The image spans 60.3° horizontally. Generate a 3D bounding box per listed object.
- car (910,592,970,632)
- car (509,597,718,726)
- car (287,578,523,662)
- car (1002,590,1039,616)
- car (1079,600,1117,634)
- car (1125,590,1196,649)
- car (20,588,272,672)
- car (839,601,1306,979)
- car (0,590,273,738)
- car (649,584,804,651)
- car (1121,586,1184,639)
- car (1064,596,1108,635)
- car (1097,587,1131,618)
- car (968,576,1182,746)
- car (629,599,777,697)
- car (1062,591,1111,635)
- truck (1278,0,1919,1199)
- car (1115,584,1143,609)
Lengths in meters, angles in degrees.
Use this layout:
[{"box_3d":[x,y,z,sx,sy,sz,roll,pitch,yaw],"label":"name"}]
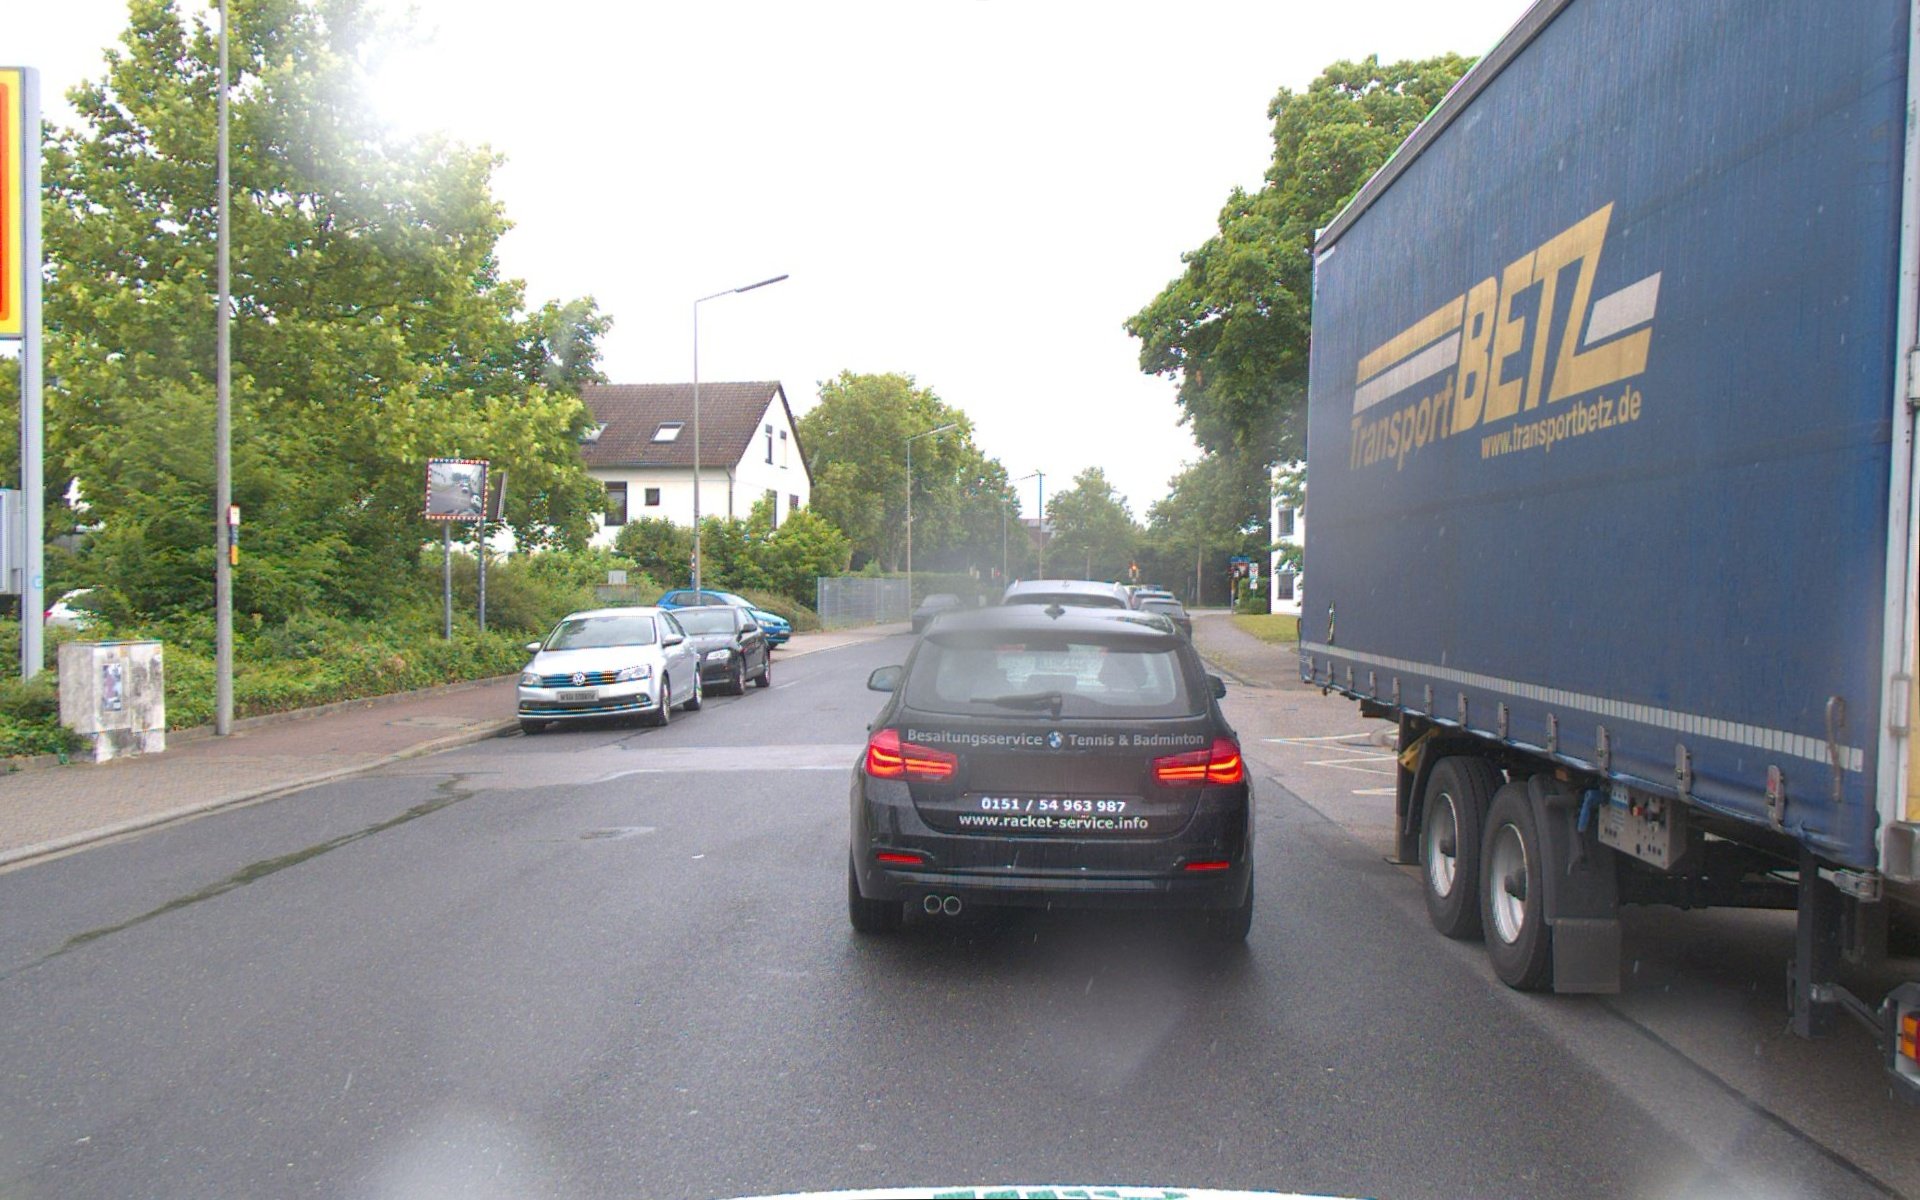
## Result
[{"box_3d":[-0.747,0.456,63.520,1.669,1.391,3.841,-2,0,8],"label":"car"},{"box_3d":[-4.300,0.699,21.225,1.671,1.391,4.601,-2,0,0],"label":"car"},{"box_3d":[-10.627,0.365,31.891,3.906,1.567,1.910,0,0,-1],"label":"car"},{"box_3d":[3.519,0.183,96.171,1.669,1.391,3.841,-2,0,8],"label":"car"},{"box_3d":[6.792,0.820,81.351,1.766,1.614,4.003,1,0,6],"label":"car"},{"box_3d":[5.728,0.546,47.572,1.766,1.614,4.002,1,0,4],"label":"car"},{"box_3d":[-15.706,0.561,32.063,3.906,1.567,1.910,0,0,-1],"label":"car"},{"box_3d":[0.304,0.731,8.277,1.769,1.419,3.997,1,0,-4],"label":"car"},{"box_3d":[-9.837,0.679,18.549,3.497,1.485,1.712,2,0,-1],"label":"car"},{"box_3d":[-6.298,0.468,44.689,3.744,1.622,1.712,-2,0,17],"label":"car"},{"box_3d":[6.142,0.393,53.142,1.766,1.614,4.002,1,0,4],"label":"car"},{"box_3d":[5.504,0.666,71.973,1.766,1.614,4.003,1,0,6],"label":"car"},{"box_3d":[8.253,0.111,88.561,1.766,1.614,4.003,0,0,6],"label":"car"},{"box_3d":[1.122,0.595,17.892,1.769,1.614,3.997,1,0,-4],"label":"car"},{"box_3d":[-4.097,0.725,26.928,1.670,1.391,3.839,-2,0,1],"label":"car"},{"box_3d":[4.938,0.504,64.164,1.766,1.614,4.003,1,0,6],"label":"car"},{"box_3d":[3.488,-0.431,7.316,2.685,3.674,7.751,2,0,1],"label":"truck"},{"box_3d":[10.877,-0.241,106.373,1.766,1.614,4.003,0,0,6],"label":"car"}]
